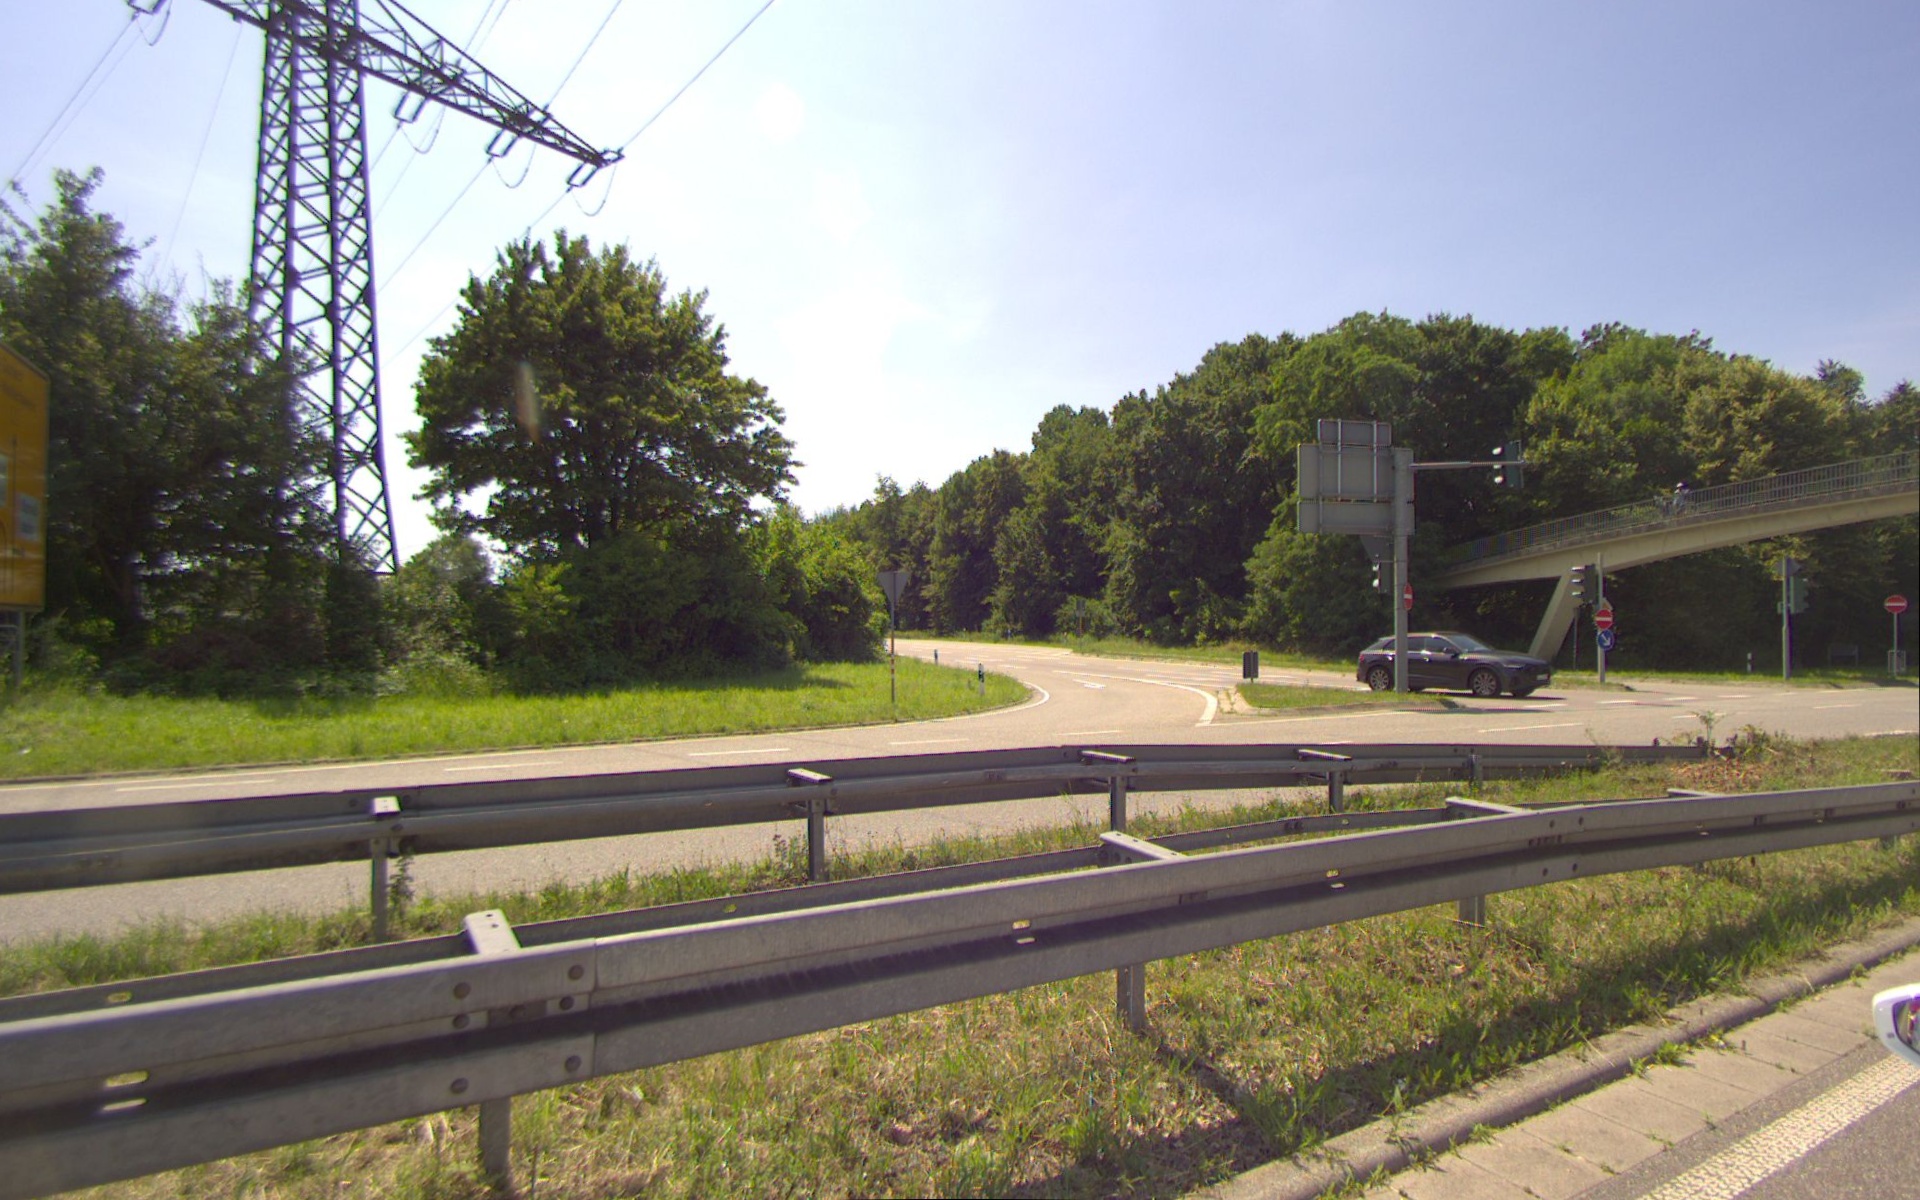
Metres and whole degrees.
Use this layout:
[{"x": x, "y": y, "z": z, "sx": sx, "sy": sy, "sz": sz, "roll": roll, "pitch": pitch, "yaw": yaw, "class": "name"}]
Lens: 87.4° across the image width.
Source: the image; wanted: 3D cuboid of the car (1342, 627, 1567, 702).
[{"x": 13.172, "y": 1.678, "z": 27.056, "sx": 2.029, "sy": 1.721, "sz": 5.034, "roll": -2, "pitch": -1, "yaw": -37, "class": "car"}]

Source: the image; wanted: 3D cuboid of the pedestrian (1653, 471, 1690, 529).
[{"x": 28.715, "y": -4.022, "z": 40.556, "sx": 0.916, "sy": 2.167, "sz": 0.783, "roll": 2, "pitch": -3, "yaw": -14, "class": "pedestrian"}]

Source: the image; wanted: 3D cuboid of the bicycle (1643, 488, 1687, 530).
[{"x": 28.482, "y": -3.659, "z": 40.601, "sx": 0.462, "sy": 1.493, "sz": 1.528, "roll": 2, "pitch": -3, "yaw": -14, "class": "bicycle"}]
